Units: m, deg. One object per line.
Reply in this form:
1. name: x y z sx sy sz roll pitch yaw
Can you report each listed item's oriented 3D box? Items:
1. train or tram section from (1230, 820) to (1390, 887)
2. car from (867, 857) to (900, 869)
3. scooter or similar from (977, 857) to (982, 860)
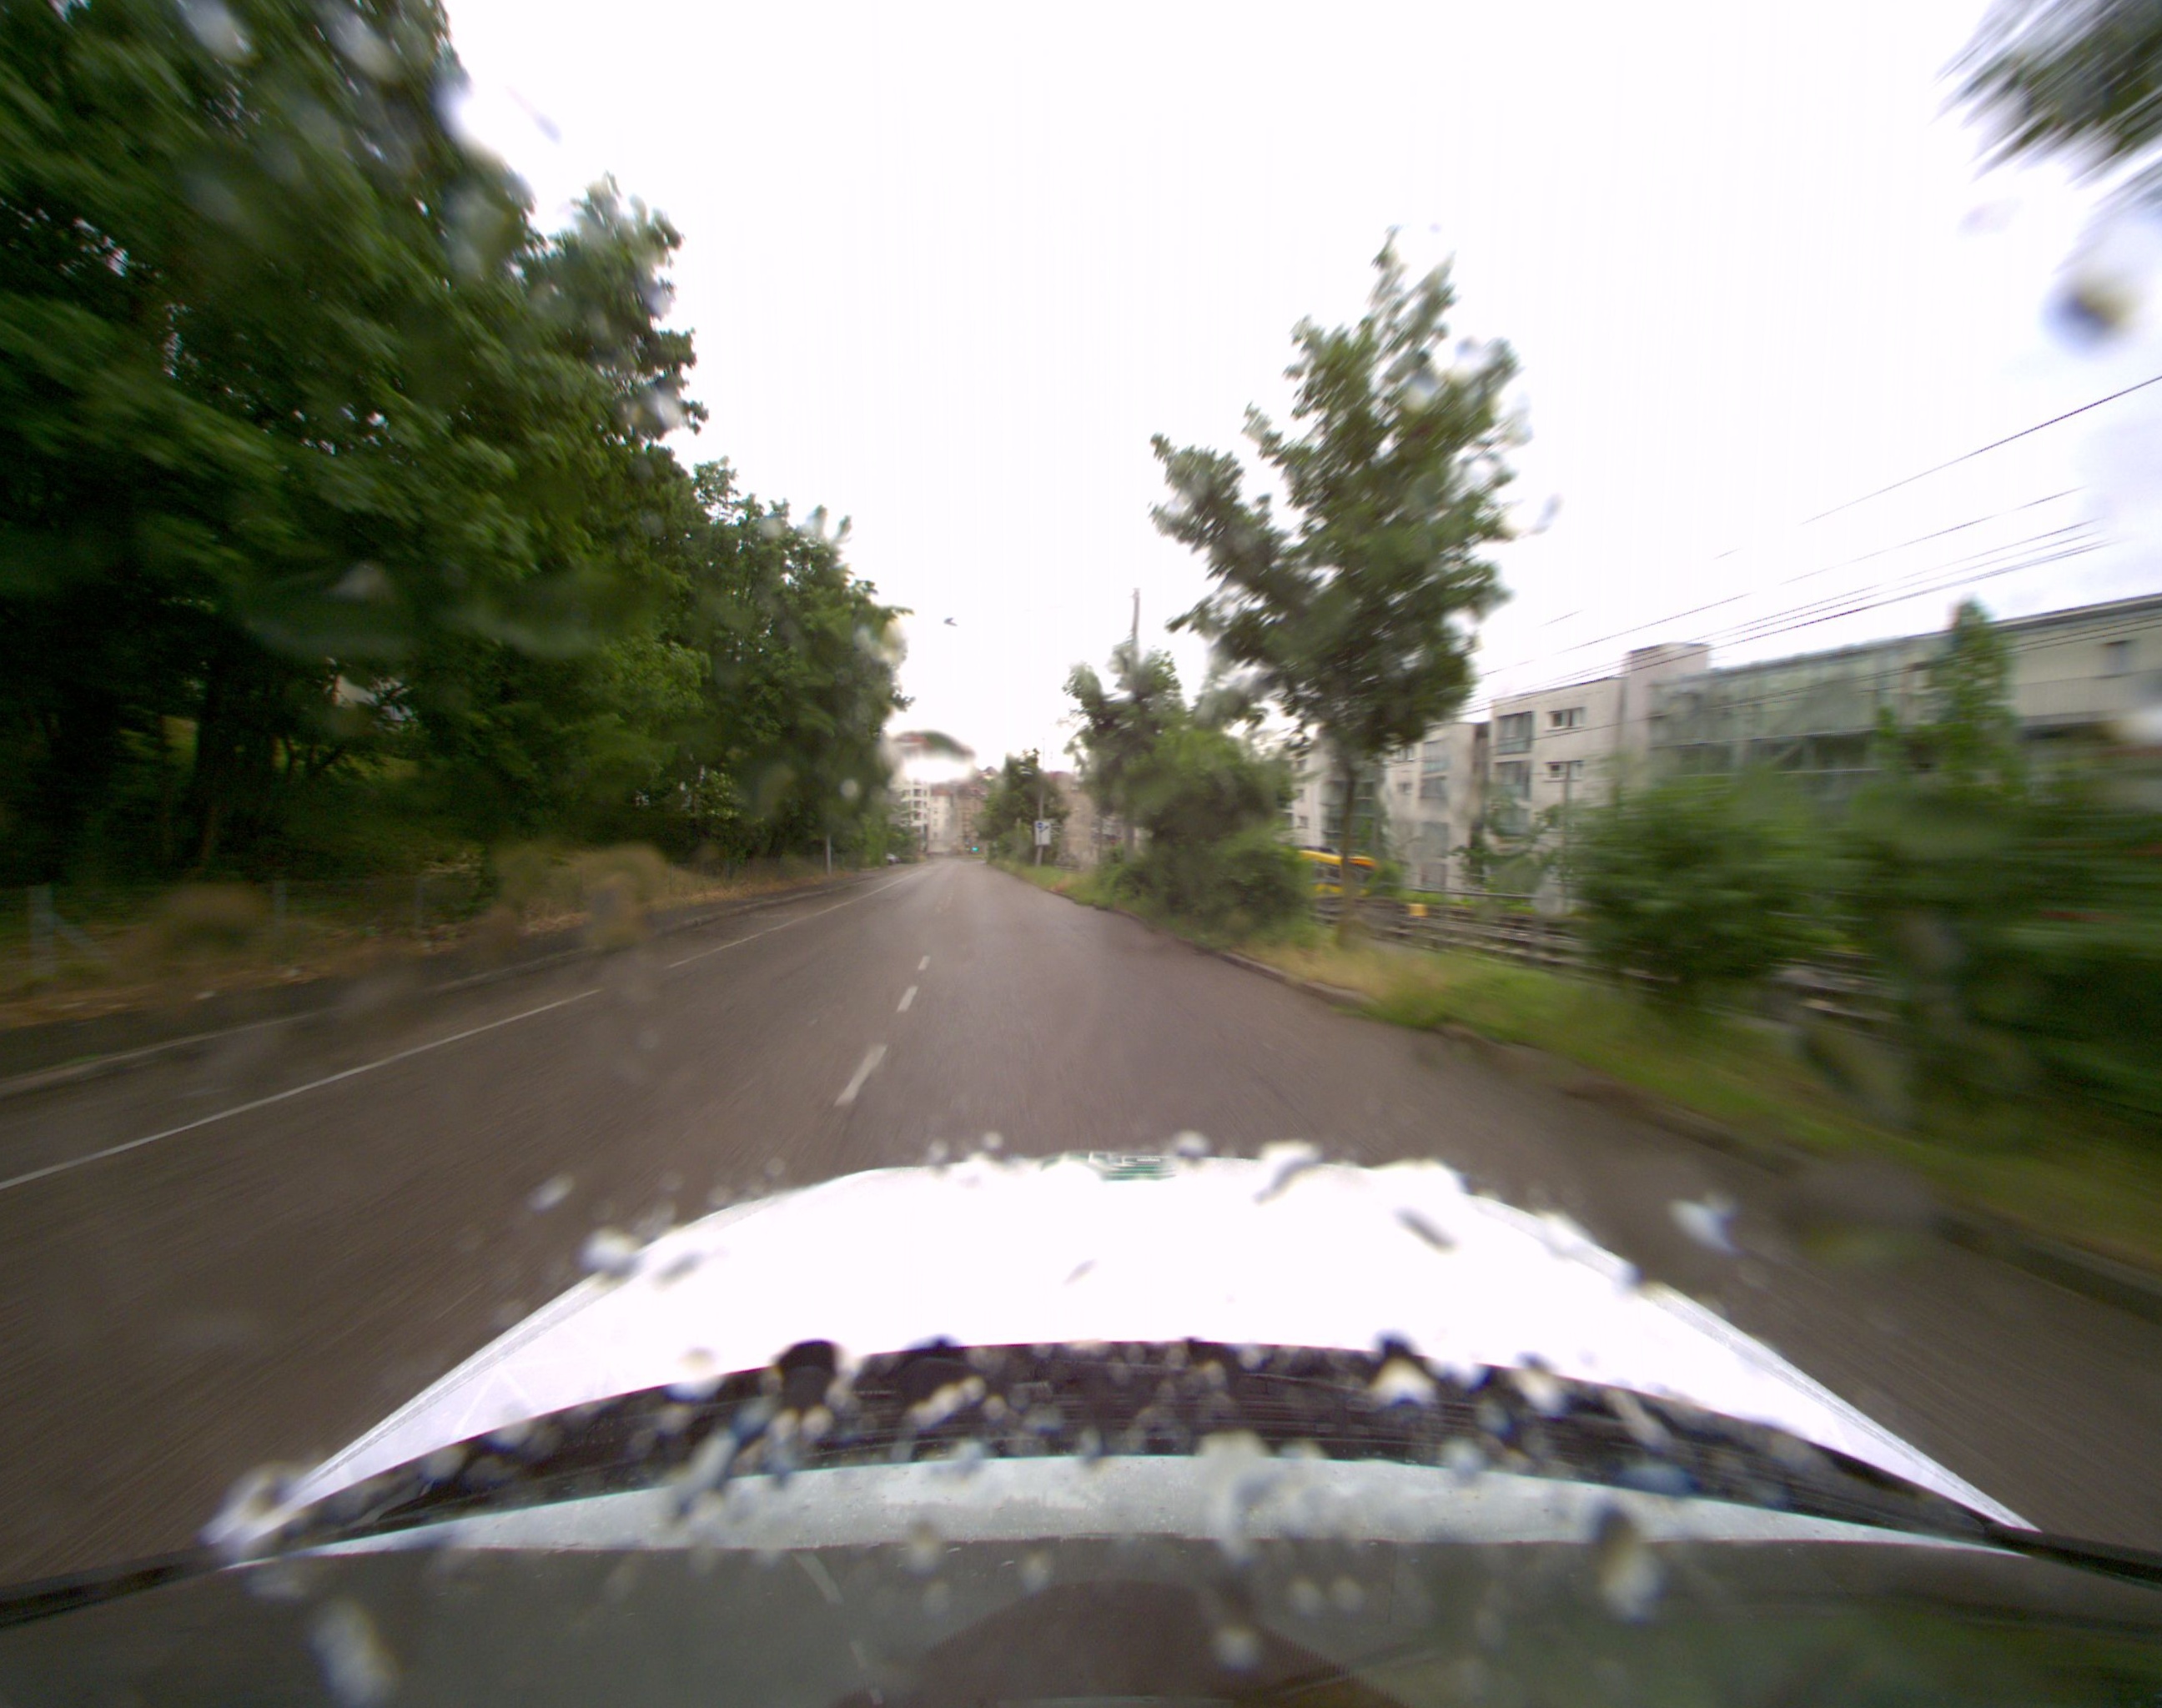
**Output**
1. train or tram section: 15.228 -0.073 57.408 3.329 3.947 19.225 0 0 -8
2. car: -23.368 1.042 96.365 3.628 1.407 1.779 0 -1 -7
3. scooter or similar: -21.284 0.915 171.577 0.480 0.761 1.336 0 0 20
